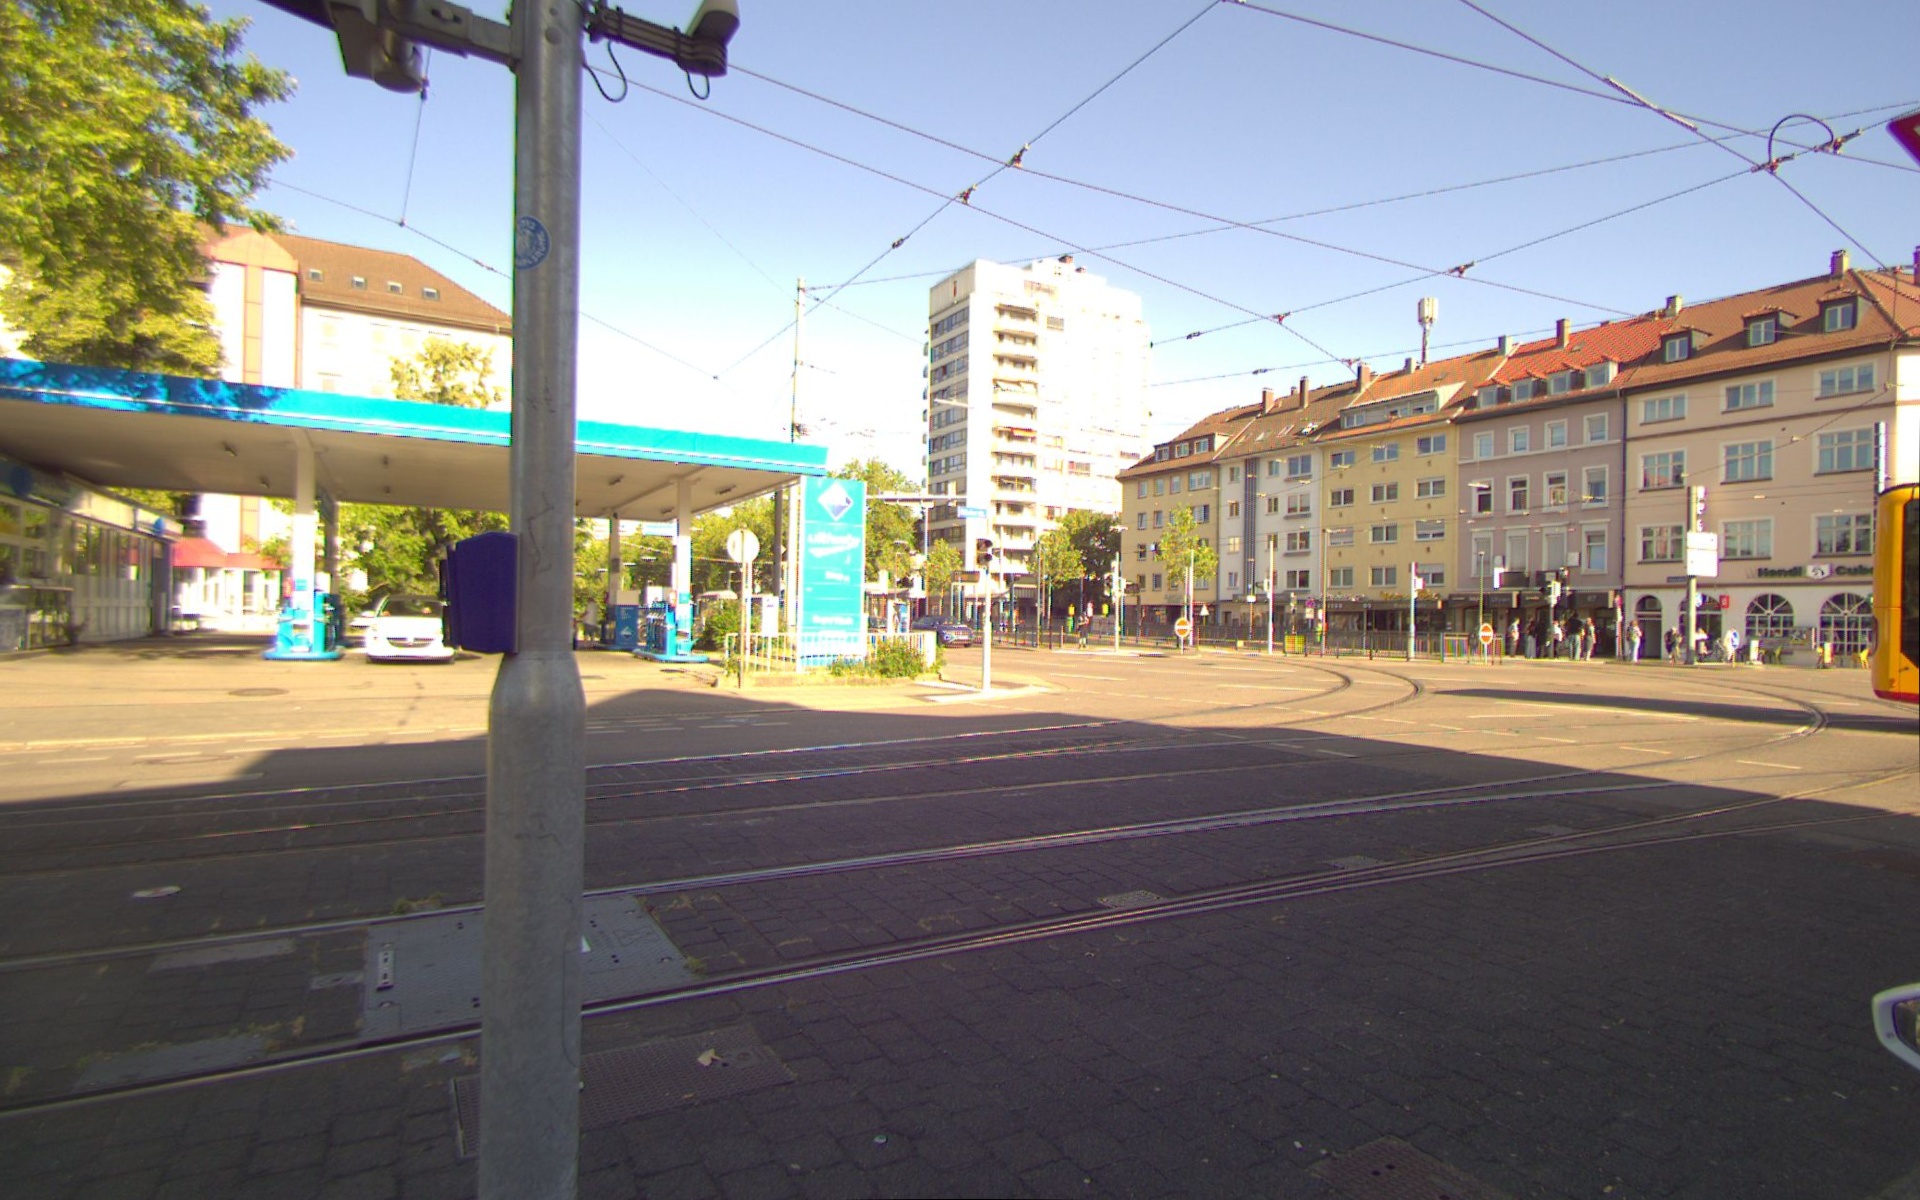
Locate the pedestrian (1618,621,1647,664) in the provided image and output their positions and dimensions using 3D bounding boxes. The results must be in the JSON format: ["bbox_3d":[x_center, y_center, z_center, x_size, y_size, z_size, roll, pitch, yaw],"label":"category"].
[{"bbox_3d":[26.632,1.674,39.769,0.621,1.704,0.737,1,-1,-30],"label":"pedestrian"}]

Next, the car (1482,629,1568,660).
[{"bbox_3d":[30.743,2.399,54.773,1.795,1.511,3.715,2,0,-27],"label":"car"}]

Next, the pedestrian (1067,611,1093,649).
[{"bbox_3d":[5.255,1.302,43.964,0.788,1.632,0.766,1,-1,-36],"label":"pedestrian"}]

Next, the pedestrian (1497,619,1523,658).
[{"bbox_3d":[24.180,1.679,44.147,0.621,1.704,0.763,1,-1,-30],"label":"pedestrian"}]

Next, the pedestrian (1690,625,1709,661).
[{"bbox_3d":[36.020,2.091,48.924,0.731,1.704,0.626,0,-1,35],"label":"pedestrian"}]

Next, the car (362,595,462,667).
[{"bbox_3d":[-12.360,0.666,22.556,1.793,1.461,3.966,1,-1,-31],"label":"car"}]

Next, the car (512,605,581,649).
[{"bbox_3d":[-13.580,0.853,32.877,1.697,1.360,3.970,1,-1,-28],"label":"car"}]

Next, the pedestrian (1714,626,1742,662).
[{"bbox_3d":[36.891,2.122,48.272,0.736,1.704,0.902,1,-1,-35],"label":"pedestrian"}]

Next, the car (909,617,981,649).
[{"bbox_3d":[-0.776,1.530,47.868,1.697,1.439,4.149,1,-1,-28],"label":"car"}]

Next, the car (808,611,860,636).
[{"bbox_3d":[-7.614,1.397,60.314,1.697,1.439,4.149,1,-1,-28],"label":"car"}]

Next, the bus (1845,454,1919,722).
[{"bbox_3d":[15.761,-0.086,11.120,2.761,3.504,8.551,0,1,-37],"label":"bus"}]

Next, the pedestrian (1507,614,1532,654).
[{"bbox_3d":[23.552,1.421,42.294,0.566,1.657,0.737,1,-1,-30],"label":"pedestrian"}]

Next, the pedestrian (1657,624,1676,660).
[{"bbox_3d":[33.901,2.024,48.173,0.731,1.704,0.626,0,-1,35],"label":"pedestrian"}]

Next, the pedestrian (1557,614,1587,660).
[{"bbox_3d":[24.657,1.484,40.482,0.714,1.853,0.763,1,-1,-30],"label":"pedestrian"}]

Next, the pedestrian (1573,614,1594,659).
[{"bbox_3d":[25.531,1.503,41.107,0.554,1.810,0.556,1,-1,-35],"label":"pedestrian"}]

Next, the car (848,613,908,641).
[{"bbox_3d":[-4.487,1.443,54.304,1.697,1.439,4.149,1,-1,-28],"label":"car"}]

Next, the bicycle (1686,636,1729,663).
[{"bbox_3d":[37.597,2.471,50.527,1.693,1.293,0.385,0,-1,44],"label":"bicycle"}]

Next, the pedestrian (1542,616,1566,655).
[{"bbox_3d":[25.033,1.493,42.339,0.554,1.602,0.694,1,-1,-35],"label":"pedestrian"}]

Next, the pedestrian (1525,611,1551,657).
[{"bbox_3d":[23.874,1.383,41.509,0.769,1.874,0.625,1,-1,-30],"label":"pedestrian"}]

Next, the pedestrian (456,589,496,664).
[{"bbox_3d":[-11.237,0.609,23.326,0.753,1.715,0.581,1,-1,-34],"label":"pedestrian"}]

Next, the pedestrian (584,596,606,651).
[{"bbox_3d":[-11.723,0.750,32.253,0.579,1.715,0.756,1,-1,-25],"label":"pedestrian"}]
